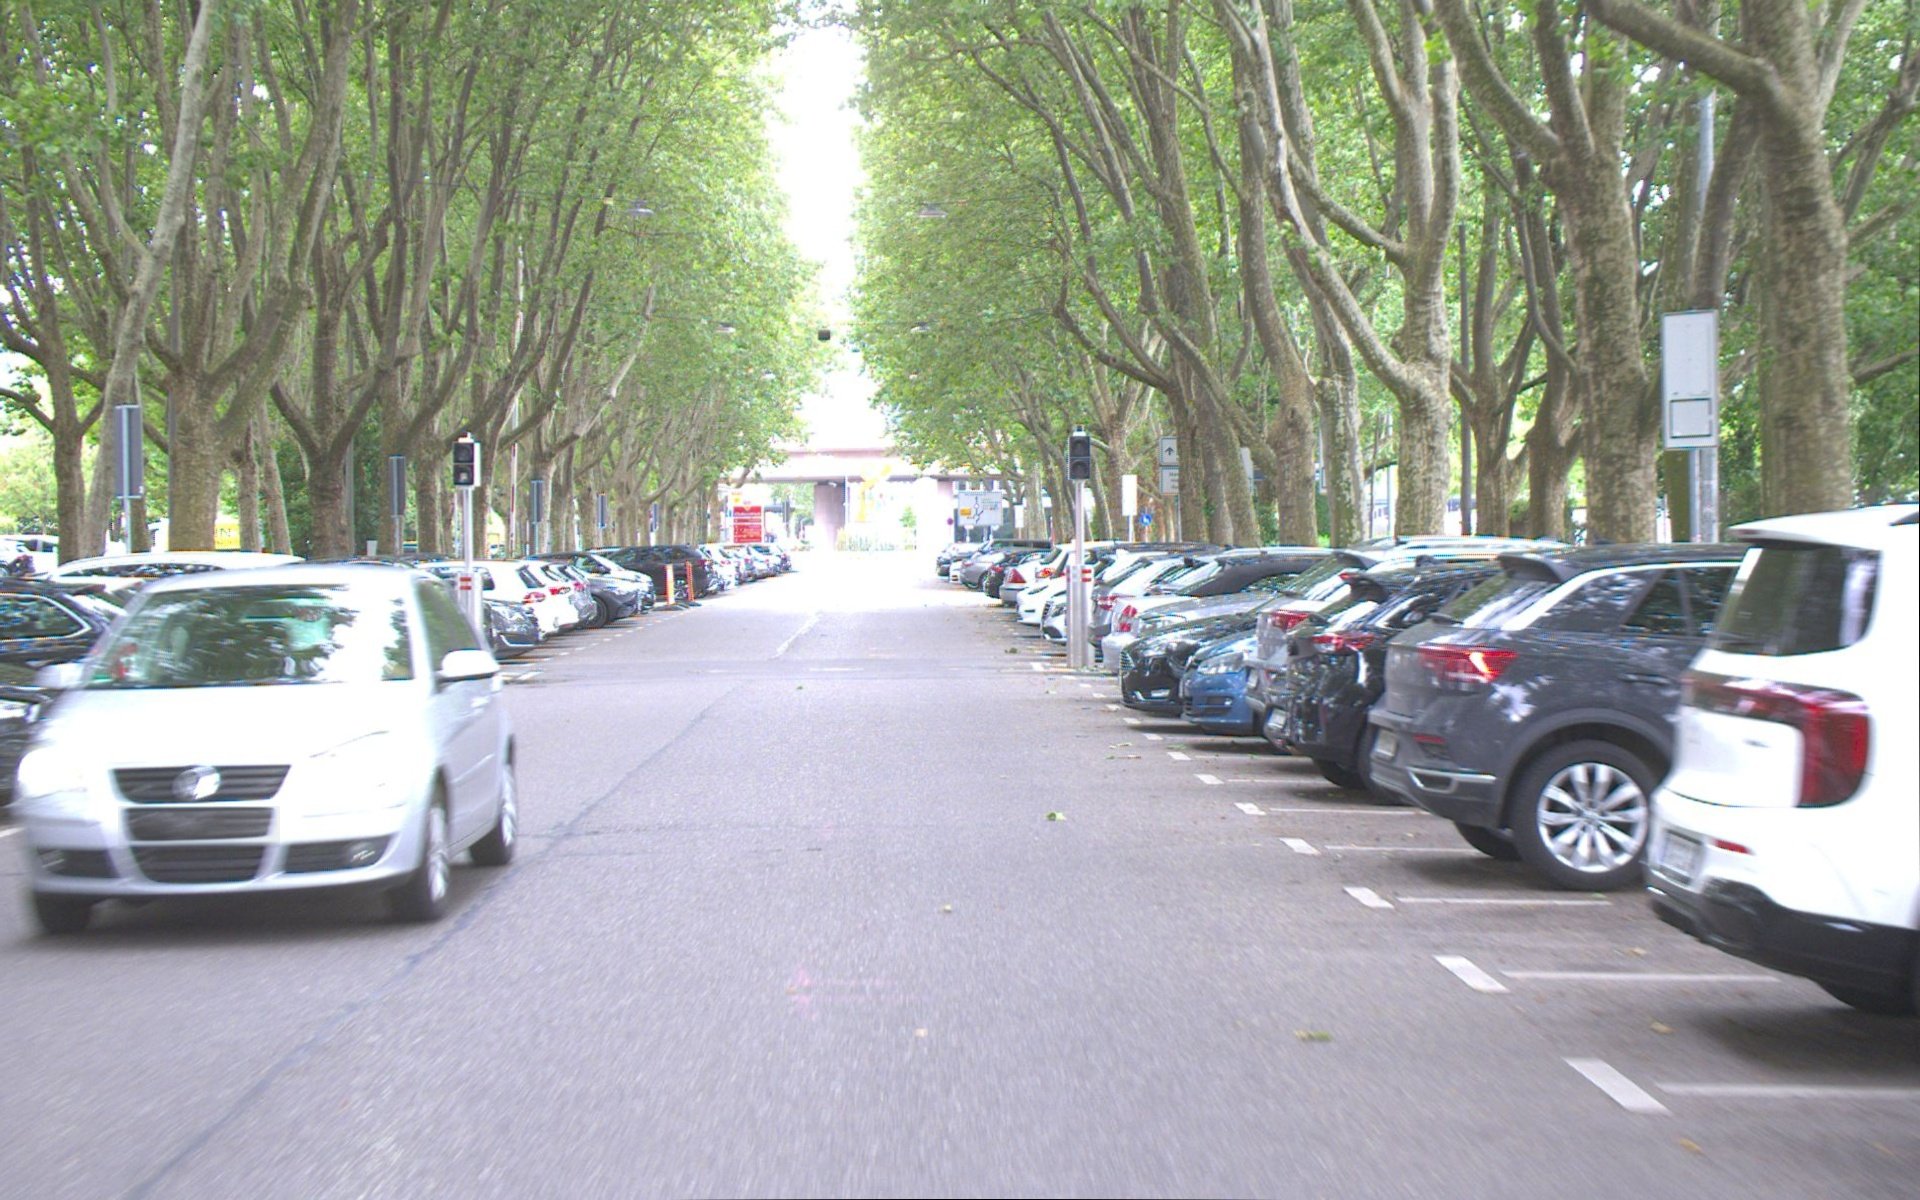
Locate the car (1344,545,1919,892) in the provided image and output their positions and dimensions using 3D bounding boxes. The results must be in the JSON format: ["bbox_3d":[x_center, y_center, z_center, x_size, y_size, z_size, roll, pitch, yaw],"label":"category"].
[{"bbox_3d":[3.885,0.514,15.791,3.986,1.481,1.694,1,1,-2],"label":"car"}]

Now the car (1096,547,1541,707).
[{"bbox_3d":[3.434,0.243,33.433,4.113,1.465,1.694,1,1,-1],"label":"car"}]

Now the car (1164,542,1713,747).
[{"bbox_3d":[3.535,0.314,25.850,3.826,1.450,1.694,1,1,-2],"label":"car"}]

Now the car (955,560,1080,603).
[{"bbox_3d":[1.962,-0.634,117.464,4.176,1.437,1.731,0,1,4],"label":"car"}]

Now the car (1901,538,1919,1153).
[{"bbox_3d":[4.553,0.656,8.052,4.185,1.551,1.701,1,1,-3],"label":"car"}]

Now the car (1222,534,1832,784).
[{"bbox_3d":[3.806,0.377,23.499,3.826,1.602,1.694,1,1,-2],"label":"car"}]

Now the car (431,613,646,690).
[{"bbox_3d":[-8.887,1.084,72.744,4.400,1.425,1.695,-2,1,-4],"label":"car"}]

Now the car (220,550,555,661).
[{"bbox_3d":[-7.919,0.062,47.837,4.400,1.360,1.695,-2,1,-4],"label":"car"}]

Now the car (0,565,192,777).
[{"bbox_3d":[-7.809,0.550,25.249,3.995,1.466,1.537,-2,1,-4],"label":"car"}]

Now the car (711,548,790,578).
[{"bbox_3d":[-10.472,-1.850,172.128,3.814,1.510,1.686,0,1,2],"label":"car"}]

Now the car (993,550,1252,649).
[{"bbox_3d":[2.715,-0.020,58.222,4.166,1.591,1.855,1,1,-4],"label":"car"}]

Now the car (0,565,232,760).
[{"bbox_3d":[-8.055,0.536,28.180,3.755,1.469,1.865,-2,1,-2],"label":"car"}]

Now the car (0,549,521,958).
[{"bbox_3d":[-2.916,0.547,14.814,1.688,1.466,3.840,-2,1,-3],"label":"car"}]

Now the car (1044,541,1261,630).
[{"bbox_3d":[3.397,-0.271,61.110,3.645,1.514,1.644,1,1,-4],"label":"car"}]

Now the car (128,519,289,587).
[{"bbox_3d":[-25.224,-1.577,115.479,5.077,2.224,1.536,1,1,-2],"label":"car"}]

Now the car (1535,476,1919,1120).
[{"bbox_3d":[4.112,0.554,10.351,4.383,1.749,1.801,1,1,-3],"label":"car"}]

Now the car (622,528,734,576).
[{"bbox_3d":[-10.418,-1.771,127.028,3.814,1.597,1.785,-2,1,4],"label":"car"}]

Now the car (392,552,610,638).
[{"bbox_3d":[-8.402,-0.096,63.168,3.826,1.425,1.695,-2,1,-4],"label":"car"}]

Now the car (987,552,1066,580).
[{"bbox_3d":[3.699,-1.878,191.923,4.376,1.517,1.731,0,1,0],"label":"car"}]

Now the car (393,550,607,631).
[{"bbox_3d":[-9.017,-0.199,67.634,4.020,1.425,1.695,-2,1,-4],"label":"car"}]

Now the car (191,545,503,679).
[{"bbox_3d":[-8.010,0.138,45.158,3.826,1.602,1.695,-2,1,-4],"label":"car"}]

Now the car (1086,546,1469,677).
[{"bbox_3d":[3.745,0.122,40.989,4.366,1.465,1.624,1,1,-2],"label":"car"}]

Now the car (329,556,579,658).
[{"bbox_3d":[-8.136,0.099,55.542,3.826,1.492,1.695,-2,1,-4],"label":"car"}]

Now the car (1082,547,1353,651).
[{"bbox_3d":[3.790,-0.027,50.929,3.775,1.465,1.624,1,1,-4],"label":"car"}]

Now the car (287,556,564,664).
[{"bbox_3d":[-7.796,0.132,50.363,3.826,1.425,1.695,-2,1,-4],"label":"car"}]

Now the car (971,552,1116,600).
[{"bbox_3d":[2.694,-0.770,110.179,4.575,1.481,2.000,0,1,4],"label":"car"}]

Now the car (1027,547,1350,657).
[{"bbox_3d":[3.168,0.013,48.132,4.296,1.465,1.624,1,1,-4],"label":"car"}]

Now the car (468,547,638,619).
[{"bbox_3d":[-9.493,-0.410,80.417,3.826,1.549,1.695,-2,1,-4],"label":"car"}]

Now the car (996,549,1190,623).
[{"bbox_3d":[2.618,-0.287,68.544,3.645,1.419,1.986,1,1,-4],"label":"car"}]

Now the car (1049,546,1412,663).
[{"bbox_3d":[3.535,0.046,45.455,4.614,1.465,1.650,1,1,-1],"label":"car"}]

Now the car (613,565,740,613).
[{"bbox_3d":[-9.095,-0.369,110.441,3.814,1.349,1.662,-2,1,4],"label":"car"}]

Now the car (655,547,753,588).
[{"bbox_3d":[-10.621,-1.345,142.861,3.814,1.510,1.686,-2,1,4],"label":"car"}]

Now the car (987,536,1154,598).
[{"bbox_3d":[2.654,-0.799,83.202,3.918,1.447,1.556,1,1,-2],"label":"car"}]

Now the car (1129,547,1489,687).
[{"bbox_3d":[3.830,0.173,38.150,3.775,1.465,1.667,1,1,-1],"label":"car"}]

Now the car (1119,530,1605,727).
[{"bbox_3d":[3.533,0.233,30.753,4.113,1.664,1.694,1,1,-1],"label":"car"}]

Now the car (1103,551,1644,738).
[{"bbox_3d":[3.356,0.345,28.369,4.211,1.446,1.611,1,1,-2],"label":"car"}]

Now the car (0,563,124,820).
[{"bbox_3d":[-7.499,0.584,20.630,4.449,1.447,1.774,-2,1,4],"label":"car"}]

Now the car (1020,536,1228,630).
[{"bbox_3d":[3.004,-0.326,63.353,3.645,1.661,1.519,1,1,-4],"label":"car"}]

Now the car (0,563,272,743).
[{"bbox_3d":[-8.146,0.478,30.355,3.826,1.466,1.695,-2,1,-4],"label":"car"}]

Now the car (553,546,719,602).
[{"bbox_3d":[-9.398,-0.768,100.106,4.664,1.422,2.000,-3,1,-2],"label":"car"}]

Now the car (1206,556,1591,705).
[{"bbox_3d":[4.513,0.298,35.739,3.775,1.465,1.624,1,1,0],"label":"car"}]

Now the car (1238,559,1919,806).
[{"bbox_3d":[3.707,0.473,20.827,3.826,1.384,1.694,1,1,-2],"label":"car"}]

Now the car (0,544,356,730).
[{"bbox_3d":[-7.818,0.338,32.735,3.826,1.622,1.953,-2,1,-4],"label":"car"}]

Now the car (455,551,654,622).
[{"bbox_3d":[-9.134,-0.312,77.695,4.332,1.425,1.695,-2,1,-4],"label":"car"}]
